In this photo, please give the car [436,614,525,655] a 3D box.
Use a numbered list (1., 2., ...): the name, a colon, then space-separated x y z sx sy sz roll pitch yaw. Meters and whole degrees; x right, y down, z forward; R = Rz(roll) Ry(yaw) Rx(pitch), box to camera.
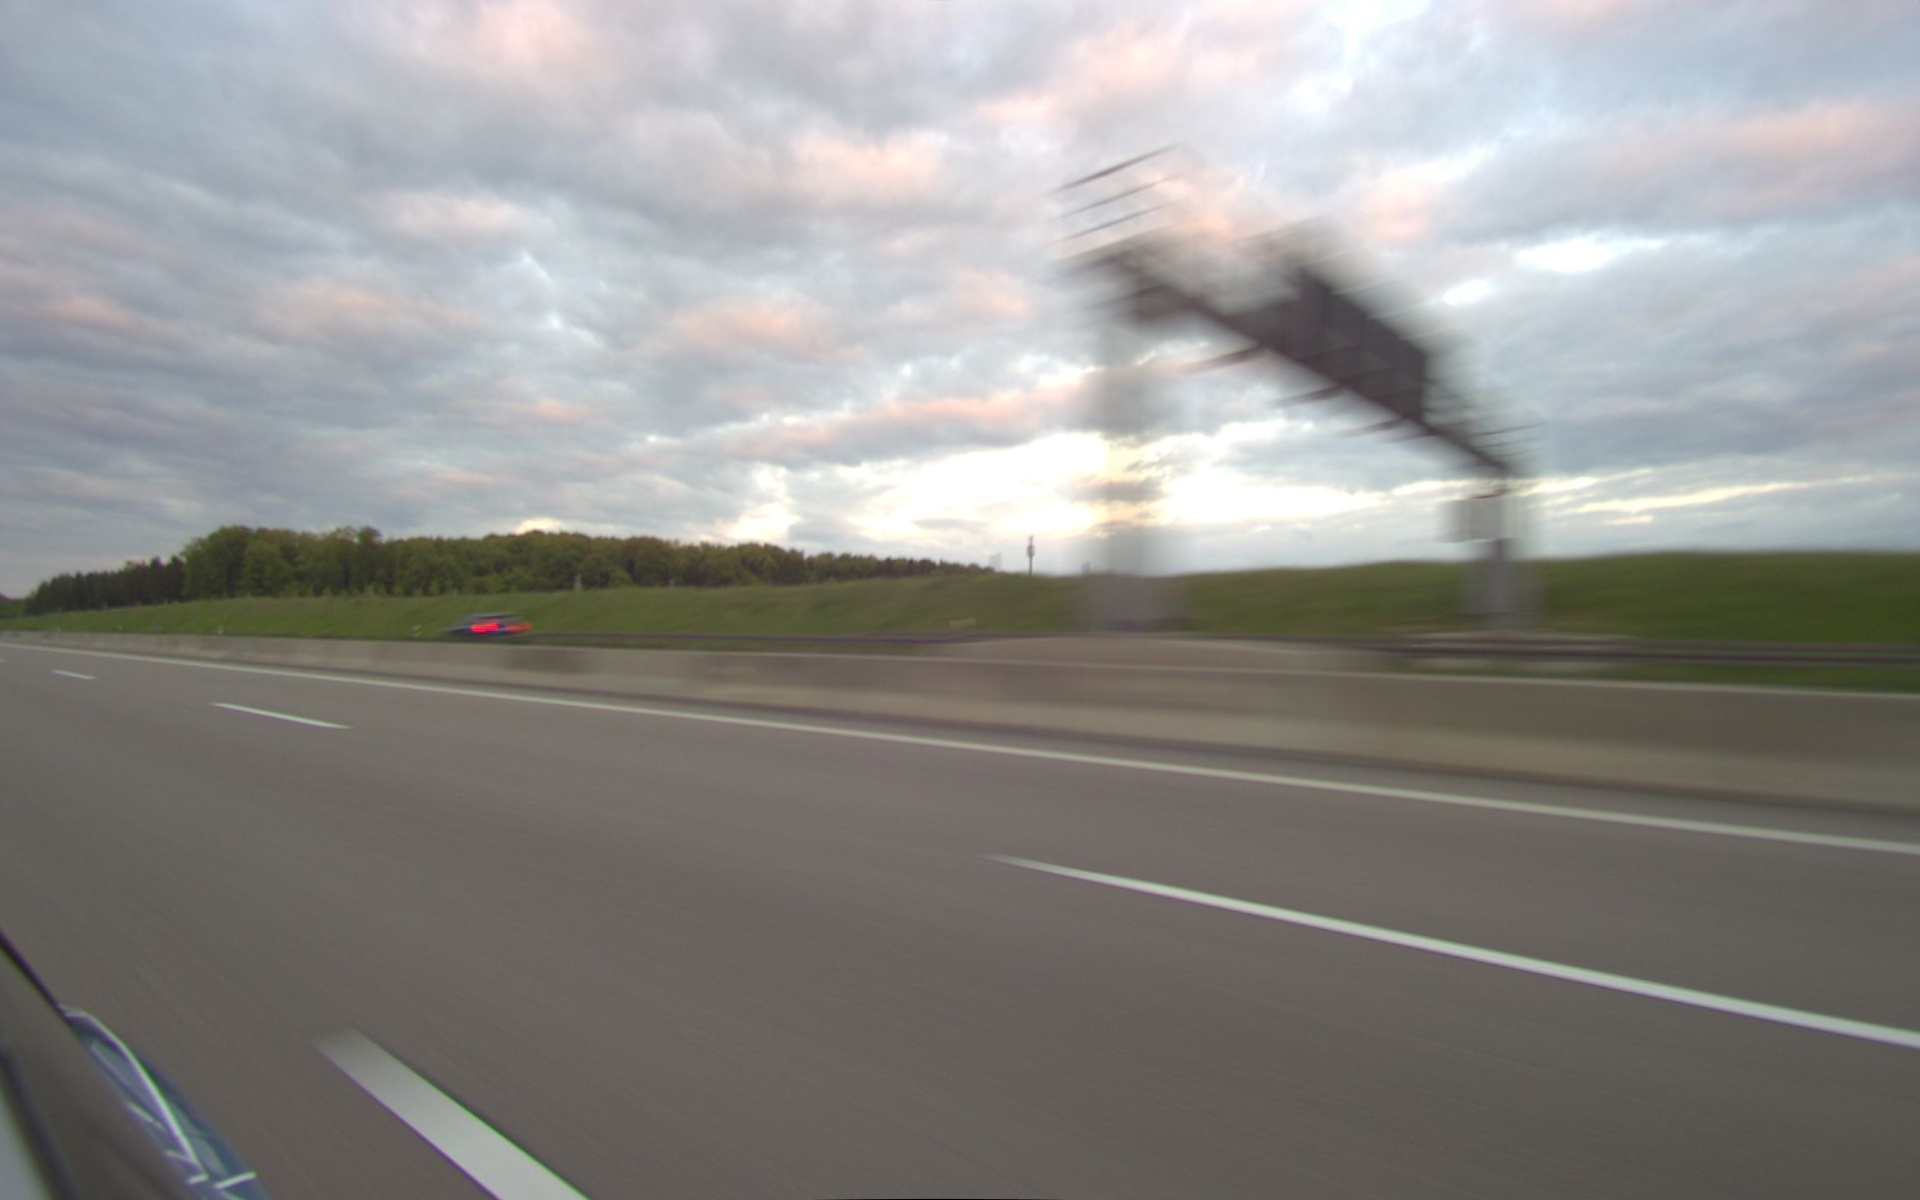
1. car: -23.146 1.630 48.735 5.085 1.841 1.973 -1 -1 41
